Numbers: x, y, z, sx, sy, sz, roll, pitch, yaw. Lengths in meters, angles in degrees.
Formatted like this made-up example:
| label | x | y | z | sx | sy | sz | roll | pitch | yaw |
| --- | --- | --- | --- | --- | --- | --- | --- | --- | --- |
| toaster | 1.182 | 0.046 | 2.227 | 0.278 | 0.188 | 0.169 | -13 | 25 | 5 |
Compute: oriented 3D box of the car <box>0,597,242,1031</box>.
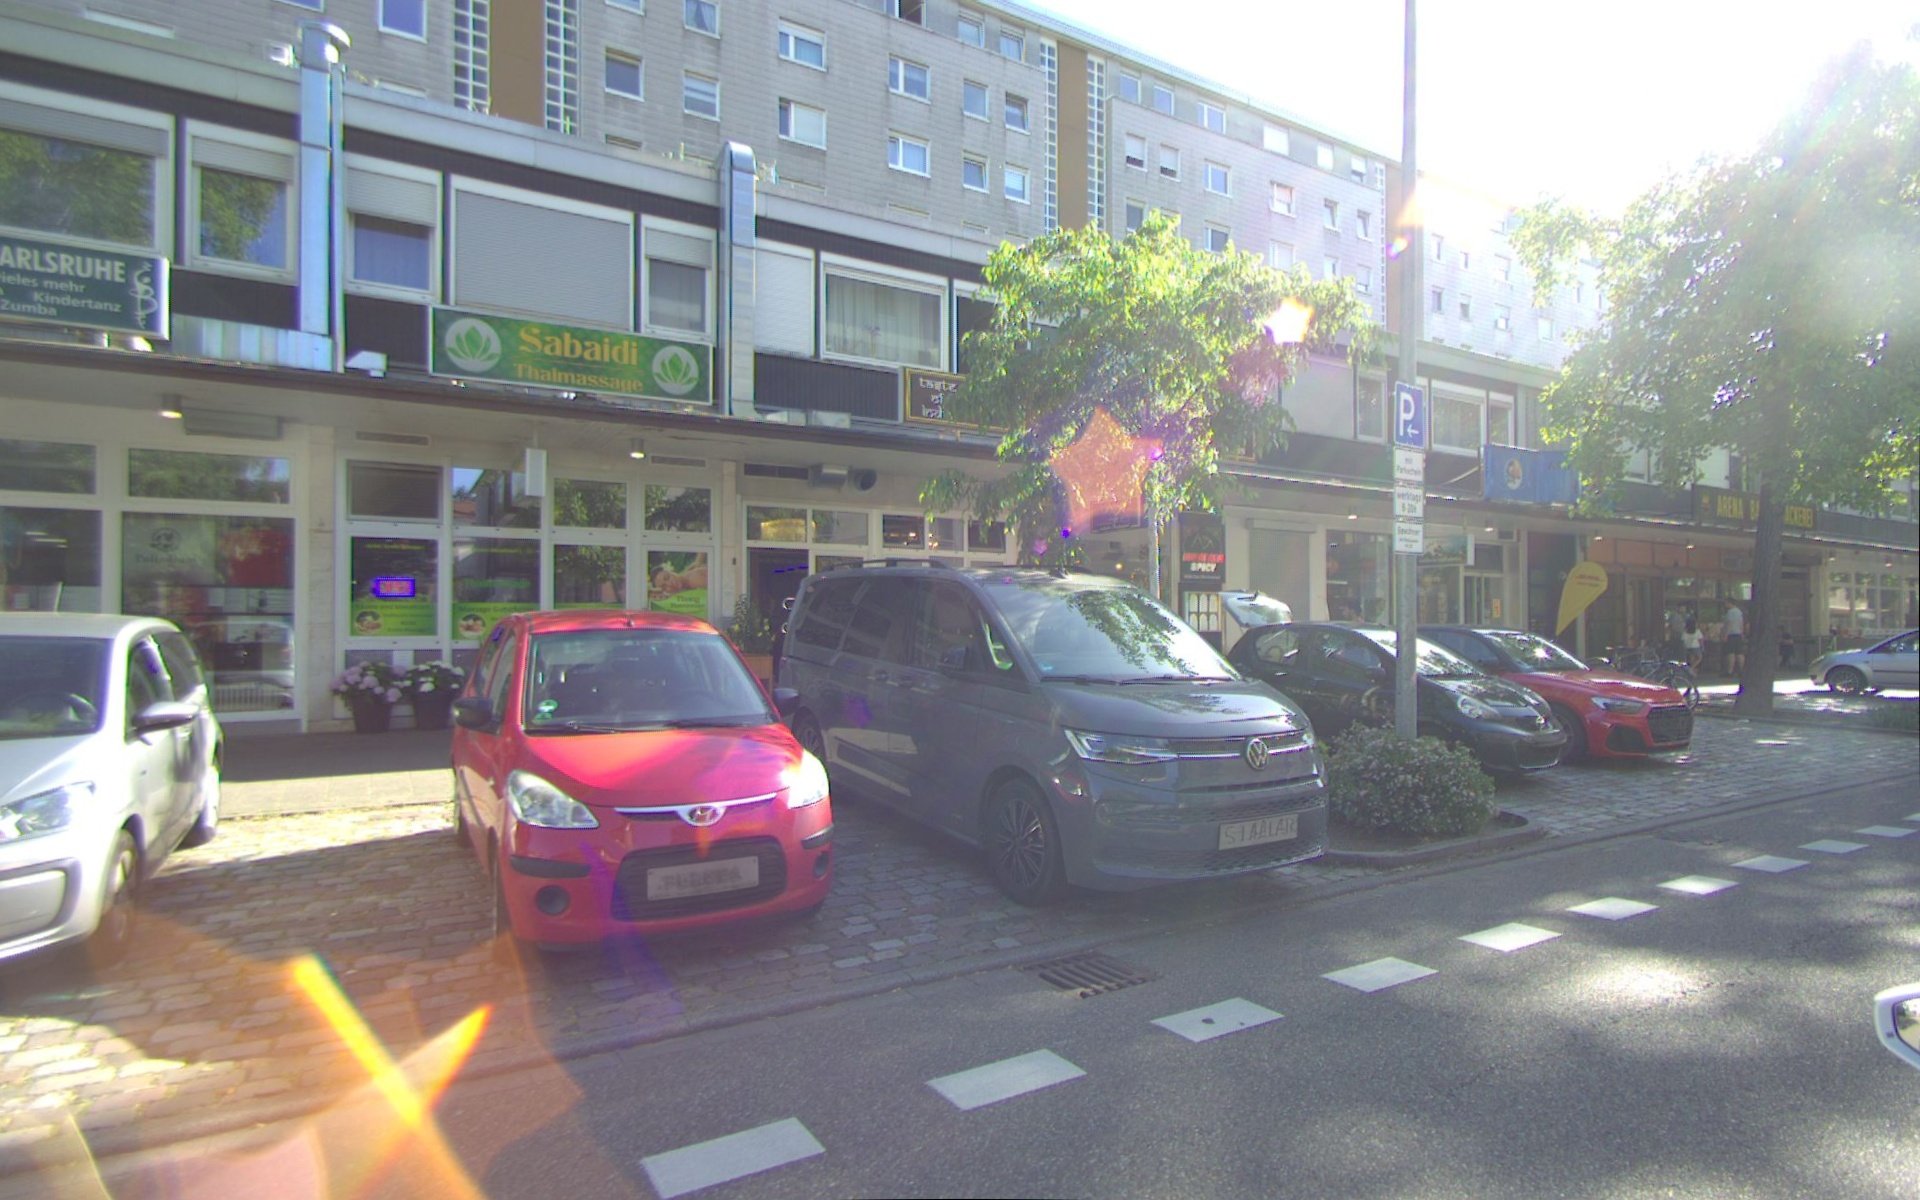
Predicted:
| label | x | y | z | sx | sy | sz | roll | pitch | yaw |
| --- | --- | --- | --- | --- | --- | --- | --- | --- | --- |
| car | -4.831 | 0.784 | 5.000 | 1.653 | 1.582 | 3.570 | 1 | 0 | -30 |

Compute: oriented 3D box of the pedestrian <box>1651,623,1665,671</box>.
| label | x | y | z | sx | sy | sz | roll | pitch | yaw |
| --- | --- | --- | --- | --- | --- | --- | --- | --- | --- |
| pedestrian | 18.397 | 1.245 | 26.477 | 0.212 | 1.261 | 0.211 | 1 | 0 | -29 |

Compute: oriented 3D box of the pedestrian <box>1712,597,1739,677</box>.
| label | x | y | z | sx | sy | sz | roll | pitch | yaw |
| --- | --- | --- | --- | --- | --- | --- | --- | --- | --- |
| pedestrian | 18.798 | 0.904 | 24.665 | 0.357 | 1.960 | 0.389 | 1 | 0 | -29 |

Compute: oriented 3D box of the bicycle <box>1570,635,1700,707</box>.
| label | x | y | z | sx | sy | sz | roll | pitch | yaw |
| --- | --- | --- | --- | --- | --- | --- | --- | --- | --- |
| bicycle | 11.925 | 1.230 | 17.818 | 0.579 | 1.121 | 1.861 | 1 | 1 | -27 |

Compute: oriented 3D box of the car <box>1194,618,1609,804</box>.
| label | x | y | z | sx | sy | sz | roll | pitch | yaw |
| --- | --- | --- | --- | --- | --- | --- | --- | --- | --- |
| car | 4.325 | 0.964 | 10.344 | 1.596 | 1.470 | 3.644 | 1 | 0 | -33 |

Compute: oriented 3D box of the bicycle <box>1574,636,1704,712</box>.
| label | x | y | z | sx | sy | sz | roll | pitch | yaw |
| --- | --- | --- | --- | --- | --- | --- | --- | --- | --- |
| bicycle | 11.360 | 1.203 | 16.869 | 0.615 | 1.132 | 1.712 | 1 | 1 | -27 |

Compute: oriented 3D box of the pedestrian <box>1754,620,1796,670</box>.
| label | x | y | z | sx | sy | sz | roll | pitch | yaw |
| --- | --- | --- | --- | --- | --- | --- | --- | --- | --- |
| pedestrian | 22.629 | 1.241 | 27.889 | 0.696 | 1.348 | 0.718 | 1 | 0 | -33 |

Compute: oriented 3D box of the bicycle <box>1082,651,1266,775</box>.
| label | x | y | z | sx | sy | sz | roll | pitch | yaw |
| --- | --- | --- | --- | --- | --- | --- | --- | --- | --- |
| bicycle | 2.054 | 1.053 | 9.887 | 0.609 | 1.053 | 1.850 | 1 | -2 | -35 |

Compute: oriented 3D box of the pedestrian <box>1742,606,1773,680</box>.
| label | x | y | z | sx | sy | sz | roll | pitch | yaw |
| --- | --- | --- | --- | --- | --- | --- | --- | --- | --- |
| pedestrian | 18.944 | 1.009 | 23.856 | 0.496 | 1.728 | 0.389 | 1 | 0 | -30 |

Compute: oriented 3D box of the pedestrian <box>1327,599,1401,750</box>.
| label | x | y | z | sx | sy | sz | roll | pitch | yaw |
| --- | --- | --- | --- | --- | --- | --- | --- | --- | --- |
| pedestrian | 4.784 | 0.867 | 11.923 | 0.622 | 1.735 | 0.581 | 0 | -1 | -2 |

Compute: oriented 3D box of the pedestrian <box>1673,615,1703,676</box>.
| label | x | y | z | sx | sy | sz | roll | pitch | yaw |
| --- | --- | --- | --- | --- | --- | --- | --- | --- | --- |
| pedestrian | 17.901 | 1.108 | 24.686 | 0.416 | 1.492 | 0.465 | 1 | -1 | -33 |

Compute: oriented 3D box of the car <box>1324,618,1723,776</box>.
| label | x | y | z | sx | sy | sz | roll | pitch | yaw |
| --- | --- | --- | --- | --- | --- | --- | --- | --- | --- |
| car | 6.432 | 0.990 | 11.960 | 1.687 | 1.470 | 3.905 | 1 | 0 | -25 |

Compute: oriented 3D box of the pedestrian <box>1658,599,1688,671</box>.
| label | x | y | z | sx | sy | sz | roll | pitch | yaw |
| --- | --- | --- | --- | --- | --- | --- | --- | --- | --- |
| pedestrian | 18.022 | 0.887 | 25.382 | 0.423 | 1.806 | 0.482 | 1 | -1 | -33 |

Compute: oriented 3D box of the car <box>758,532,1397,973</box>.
| label | x | y | z | sx | sy | sz | roll | pitch | yaw |
| --- | --- | --- | --- | --- | --- | --- | --- | --- | --- |
| car | 0.299 | 0.674 | 7.108 | 1.851 | 1.964 | 5.005 | 1 | 0 | -30 |

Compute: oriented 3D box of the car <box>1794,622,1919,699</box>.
| label | x | y | z | sx | sy | sz | roll | pitch | yaw |
| --- | --- | --- | --- | --- | --- | --- | --- | --- | --- |
| car | 19.214 | 1.166 | 19.747 | 1.839 | 1.476 | 3.967 | 1 | -1 | -31 |

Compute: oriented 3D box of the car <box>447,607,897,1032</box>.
| label | x | y | z | sx | sy | sz | roll | pitch | yaw |
| --- | --- | --- | --- | --- | --- | --- | --- | --- | --- |
| car | -1.899 | 0.849 | 5.760 | 1.642 | 1.575 | 3.539 | 1 | 0 | -31 |
